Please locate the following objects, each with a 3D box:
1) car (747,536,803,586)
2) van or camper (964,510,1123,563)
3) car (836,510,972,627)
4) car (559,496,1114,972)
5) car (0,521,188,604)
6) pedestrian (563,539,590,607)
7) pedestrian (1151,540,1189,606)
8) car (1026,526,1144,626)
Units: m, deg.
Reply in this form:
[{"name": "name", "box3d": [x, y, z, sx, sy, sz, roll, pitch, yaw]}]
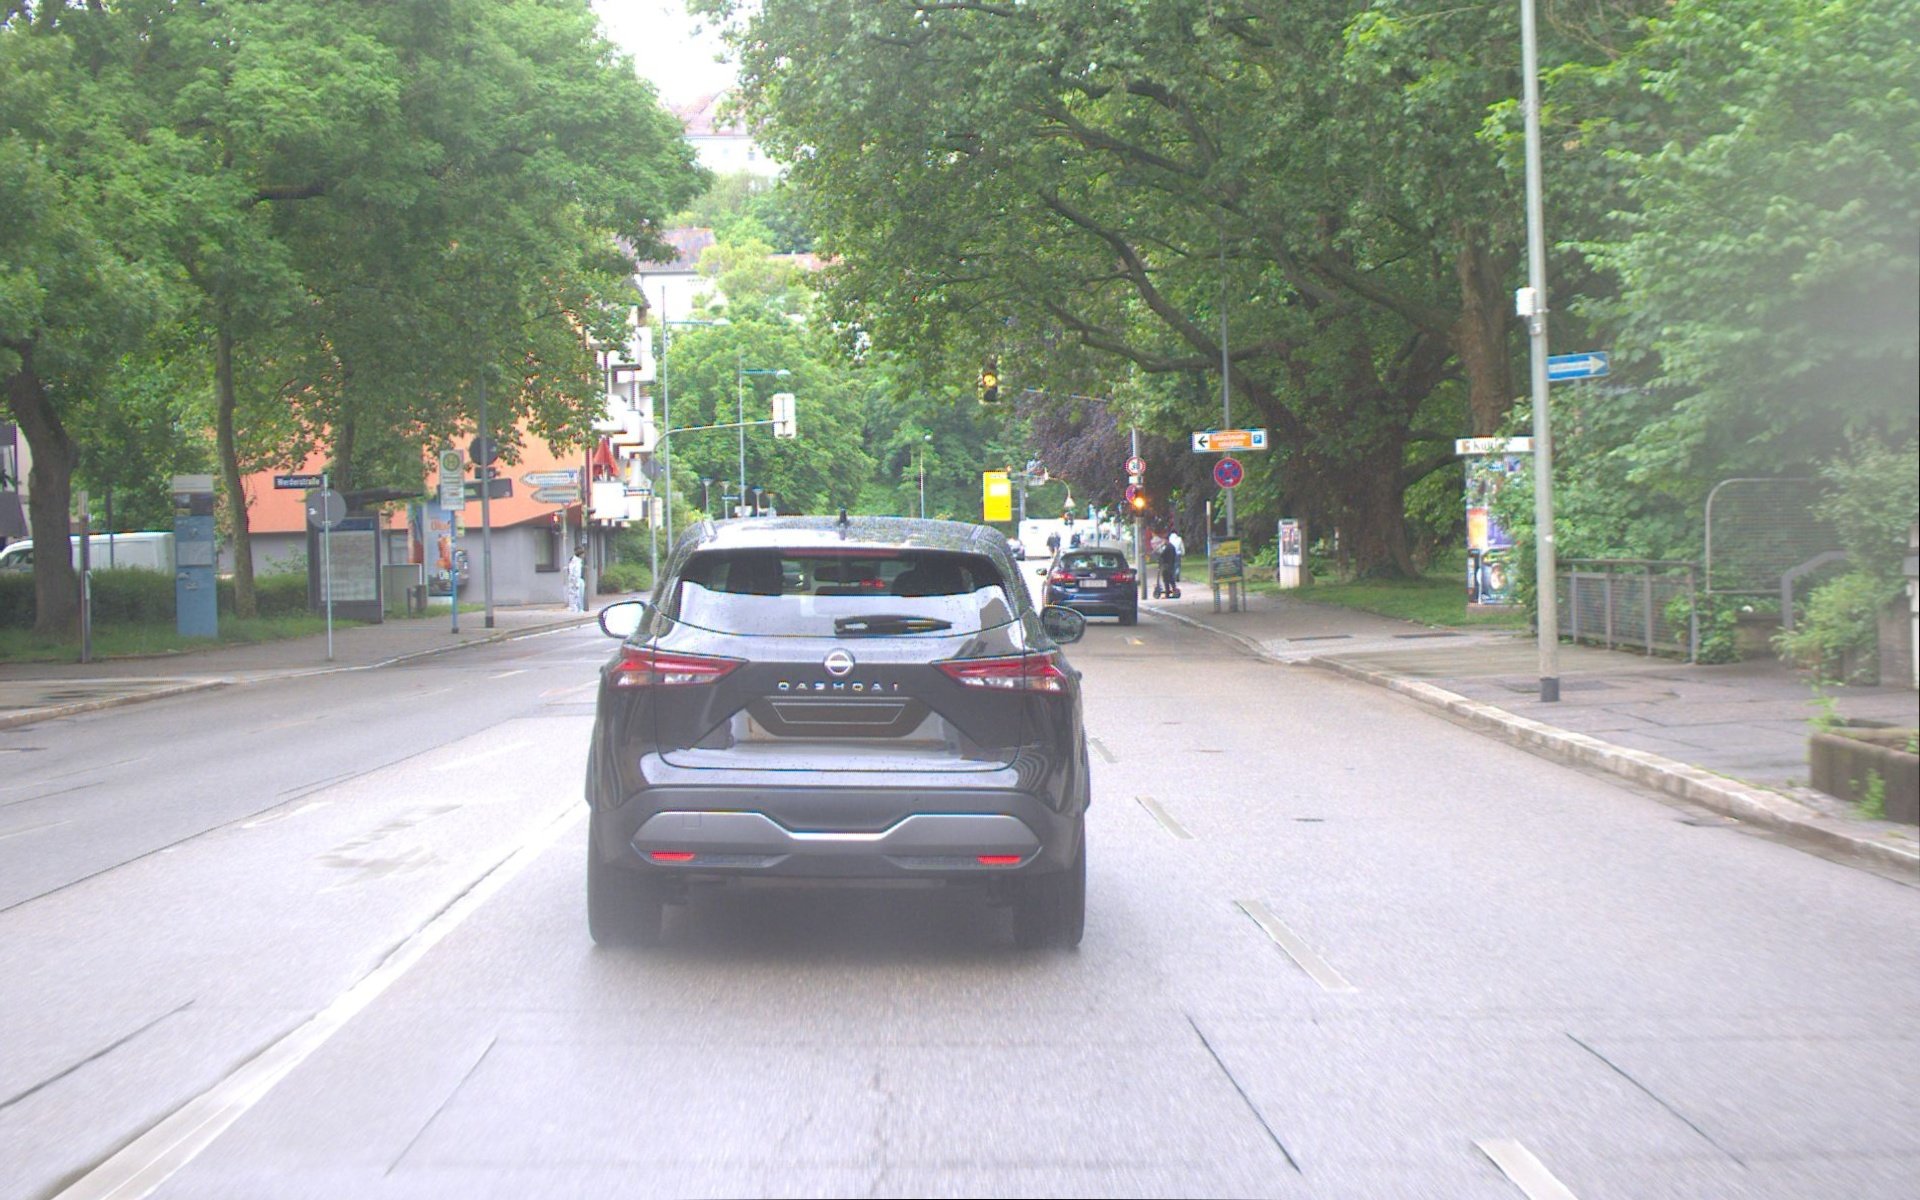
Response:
[{"name": "car", "box3d": [-6.872, -1.454, 128.034, 1.821, 1.790, 3.865, 1, 1, 1]}, {"name": "van or camper", "box3d": [5.836, -4.477, 240.754, 10.929, 3.545, 3.185, 1, 1, -1]}, {"name": "car", "box3d": [-0.839, -0.486, 54.122, 1.946, 1.679, 4.000, -3, 0, 1]}, {"name": "car", "box3d": [-0.560, 0.410, 13.781, 1.894, 1.623, 4.001, 0, 1, -4]}, {"name": "car", "box3d": [-18.859, -0.825, 74.516, 3.833, 1.728, 1.880, 1, 1, -2]}, {"name": "pedestrian", "box3d": [-10.043, -0.710, 89.988, 0.666, 1.785, 0.722, 1, 1, -7]}, {"name": "pedestrian", "box3d": [5.672, -0.731, 92.898, 0.667, 1.785, 0.721, 0, 2, -42]}, {"name": "car", "box3d": [2.415, -0.455, 67.468, 1.945, 1.810, 4.000, -3, 0, -2]}]
